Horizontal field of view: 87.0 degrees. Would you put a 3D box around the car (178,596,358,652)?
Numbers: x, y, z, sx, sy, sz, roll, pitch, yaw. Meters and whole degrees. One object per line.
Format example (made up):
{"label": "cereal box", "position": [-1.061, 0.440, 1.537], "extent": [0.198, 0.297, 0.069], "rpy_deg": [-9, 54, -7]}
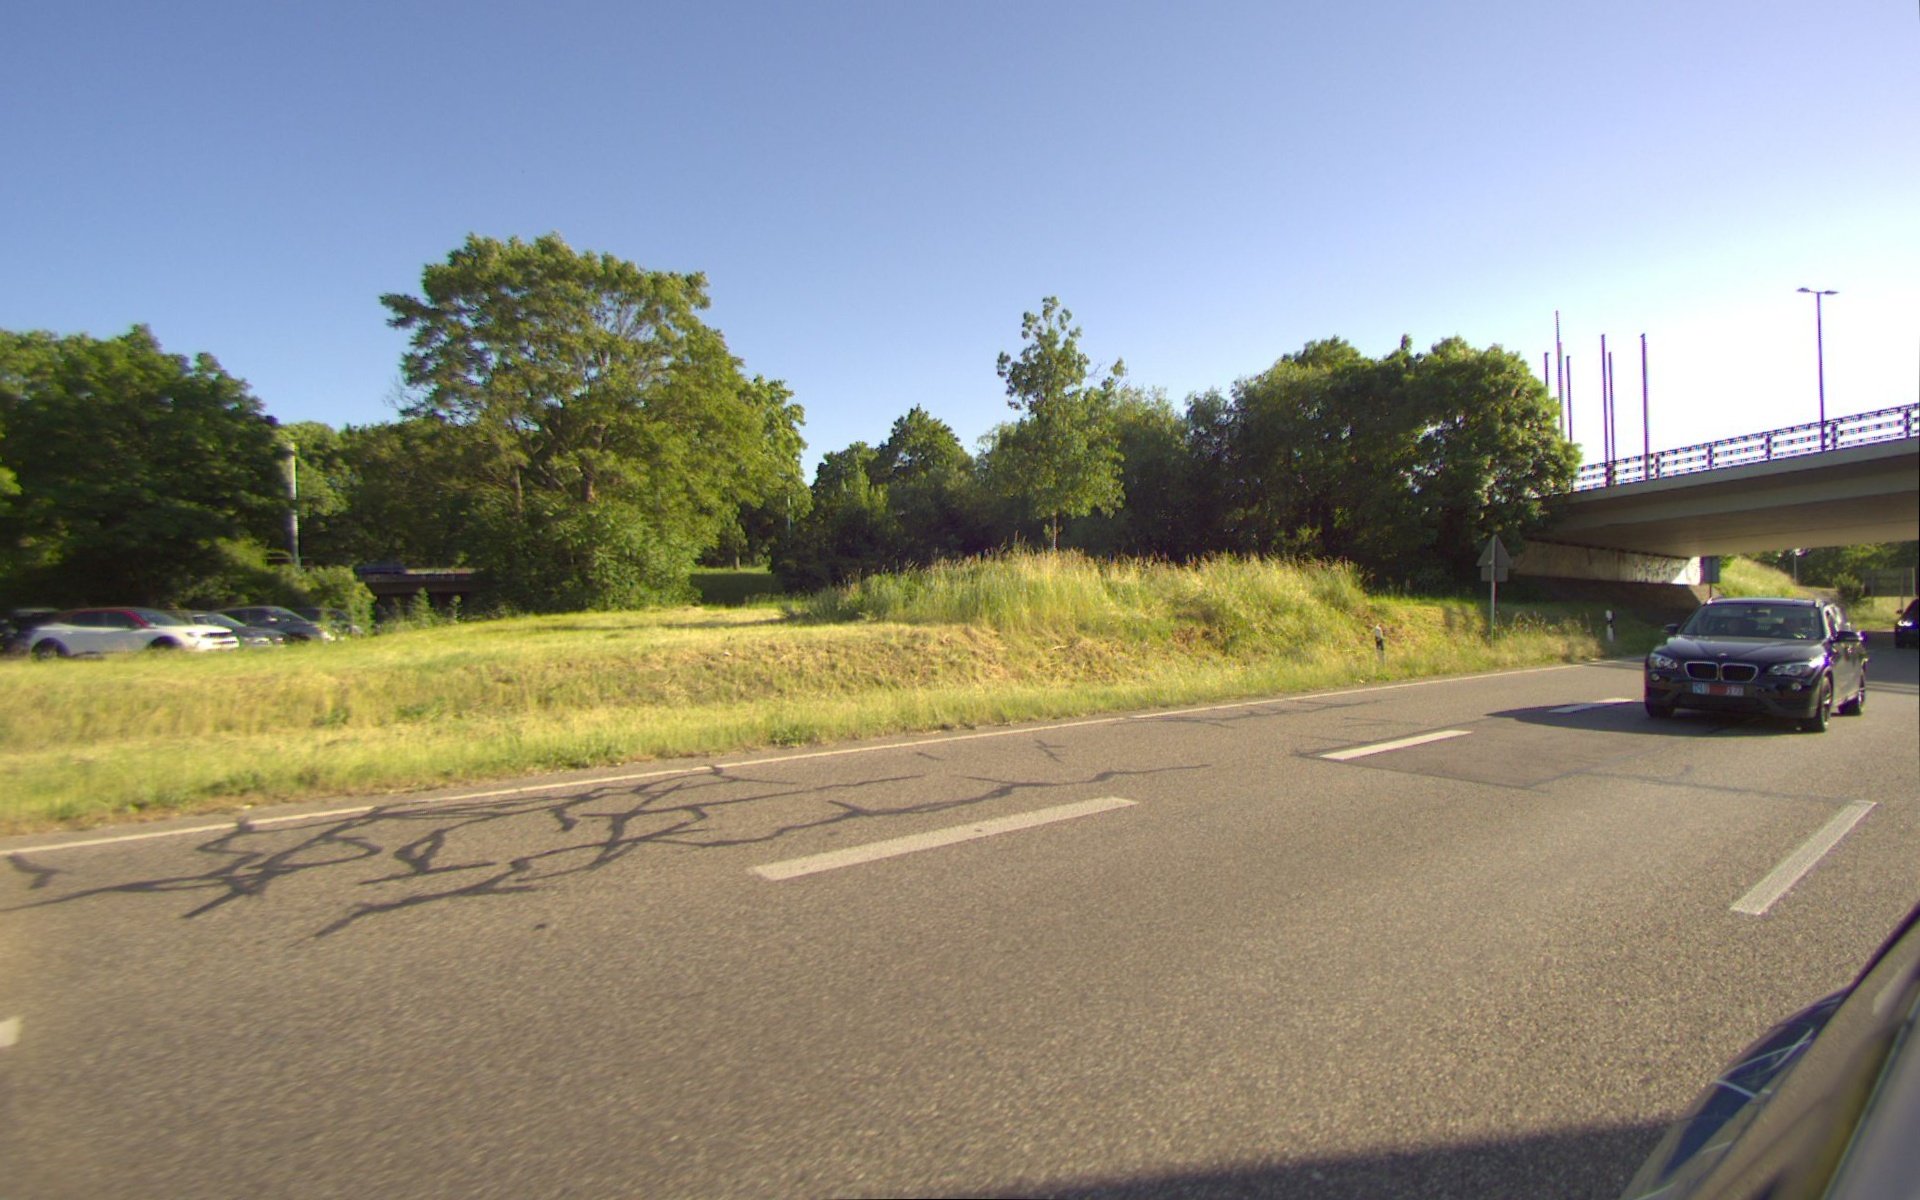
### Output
{"label": "car", "position": [-20.429, 0.678, 30.019], "extent": [3.920, 1.322, 1.927], "rpy_deg": [-3, 2, -6]}

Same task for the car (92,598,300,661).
{"label": "car", "position": [-20.132, 0.743, 26.815], "extent": [3.920, 1.322, 1.927], "rpy_deg": [-3, 2, -6]}

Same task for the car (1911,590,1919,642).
{"label": "car", "position": [31.904, 0.465, 32.390], "extent": [4.443, 1.592, 1.758], "rpy_deg": [-1, 1, -41]}

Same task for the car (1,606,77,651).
{"label": "car", "position": [-34.285, 1.037, 37.639], "extent": [1.837, 1.441, 4.111], "rpy_deg": [-4, 2, -45]}

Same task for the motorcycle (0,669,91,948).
{"label": "motorcycle", "position": [-5.034, 0.893, 3.714], "extent": [2.786, 1.083, 0.818], "rpy_deg": [-1, 0, -41]}

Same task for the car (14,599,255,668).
{"label": "car", "position": [-19.769, 0.759, 24.420], "extent": [4.028, 1.322, 2.003], "rpy_deg": [-3, 2, -6]}

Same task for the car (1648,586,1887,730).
{"label": "car", "position": [10.548, 0.597, 13.095], "extent": [4.500, 1.525, 1.701], "rpy_deg": [-1, 1, -42]}
